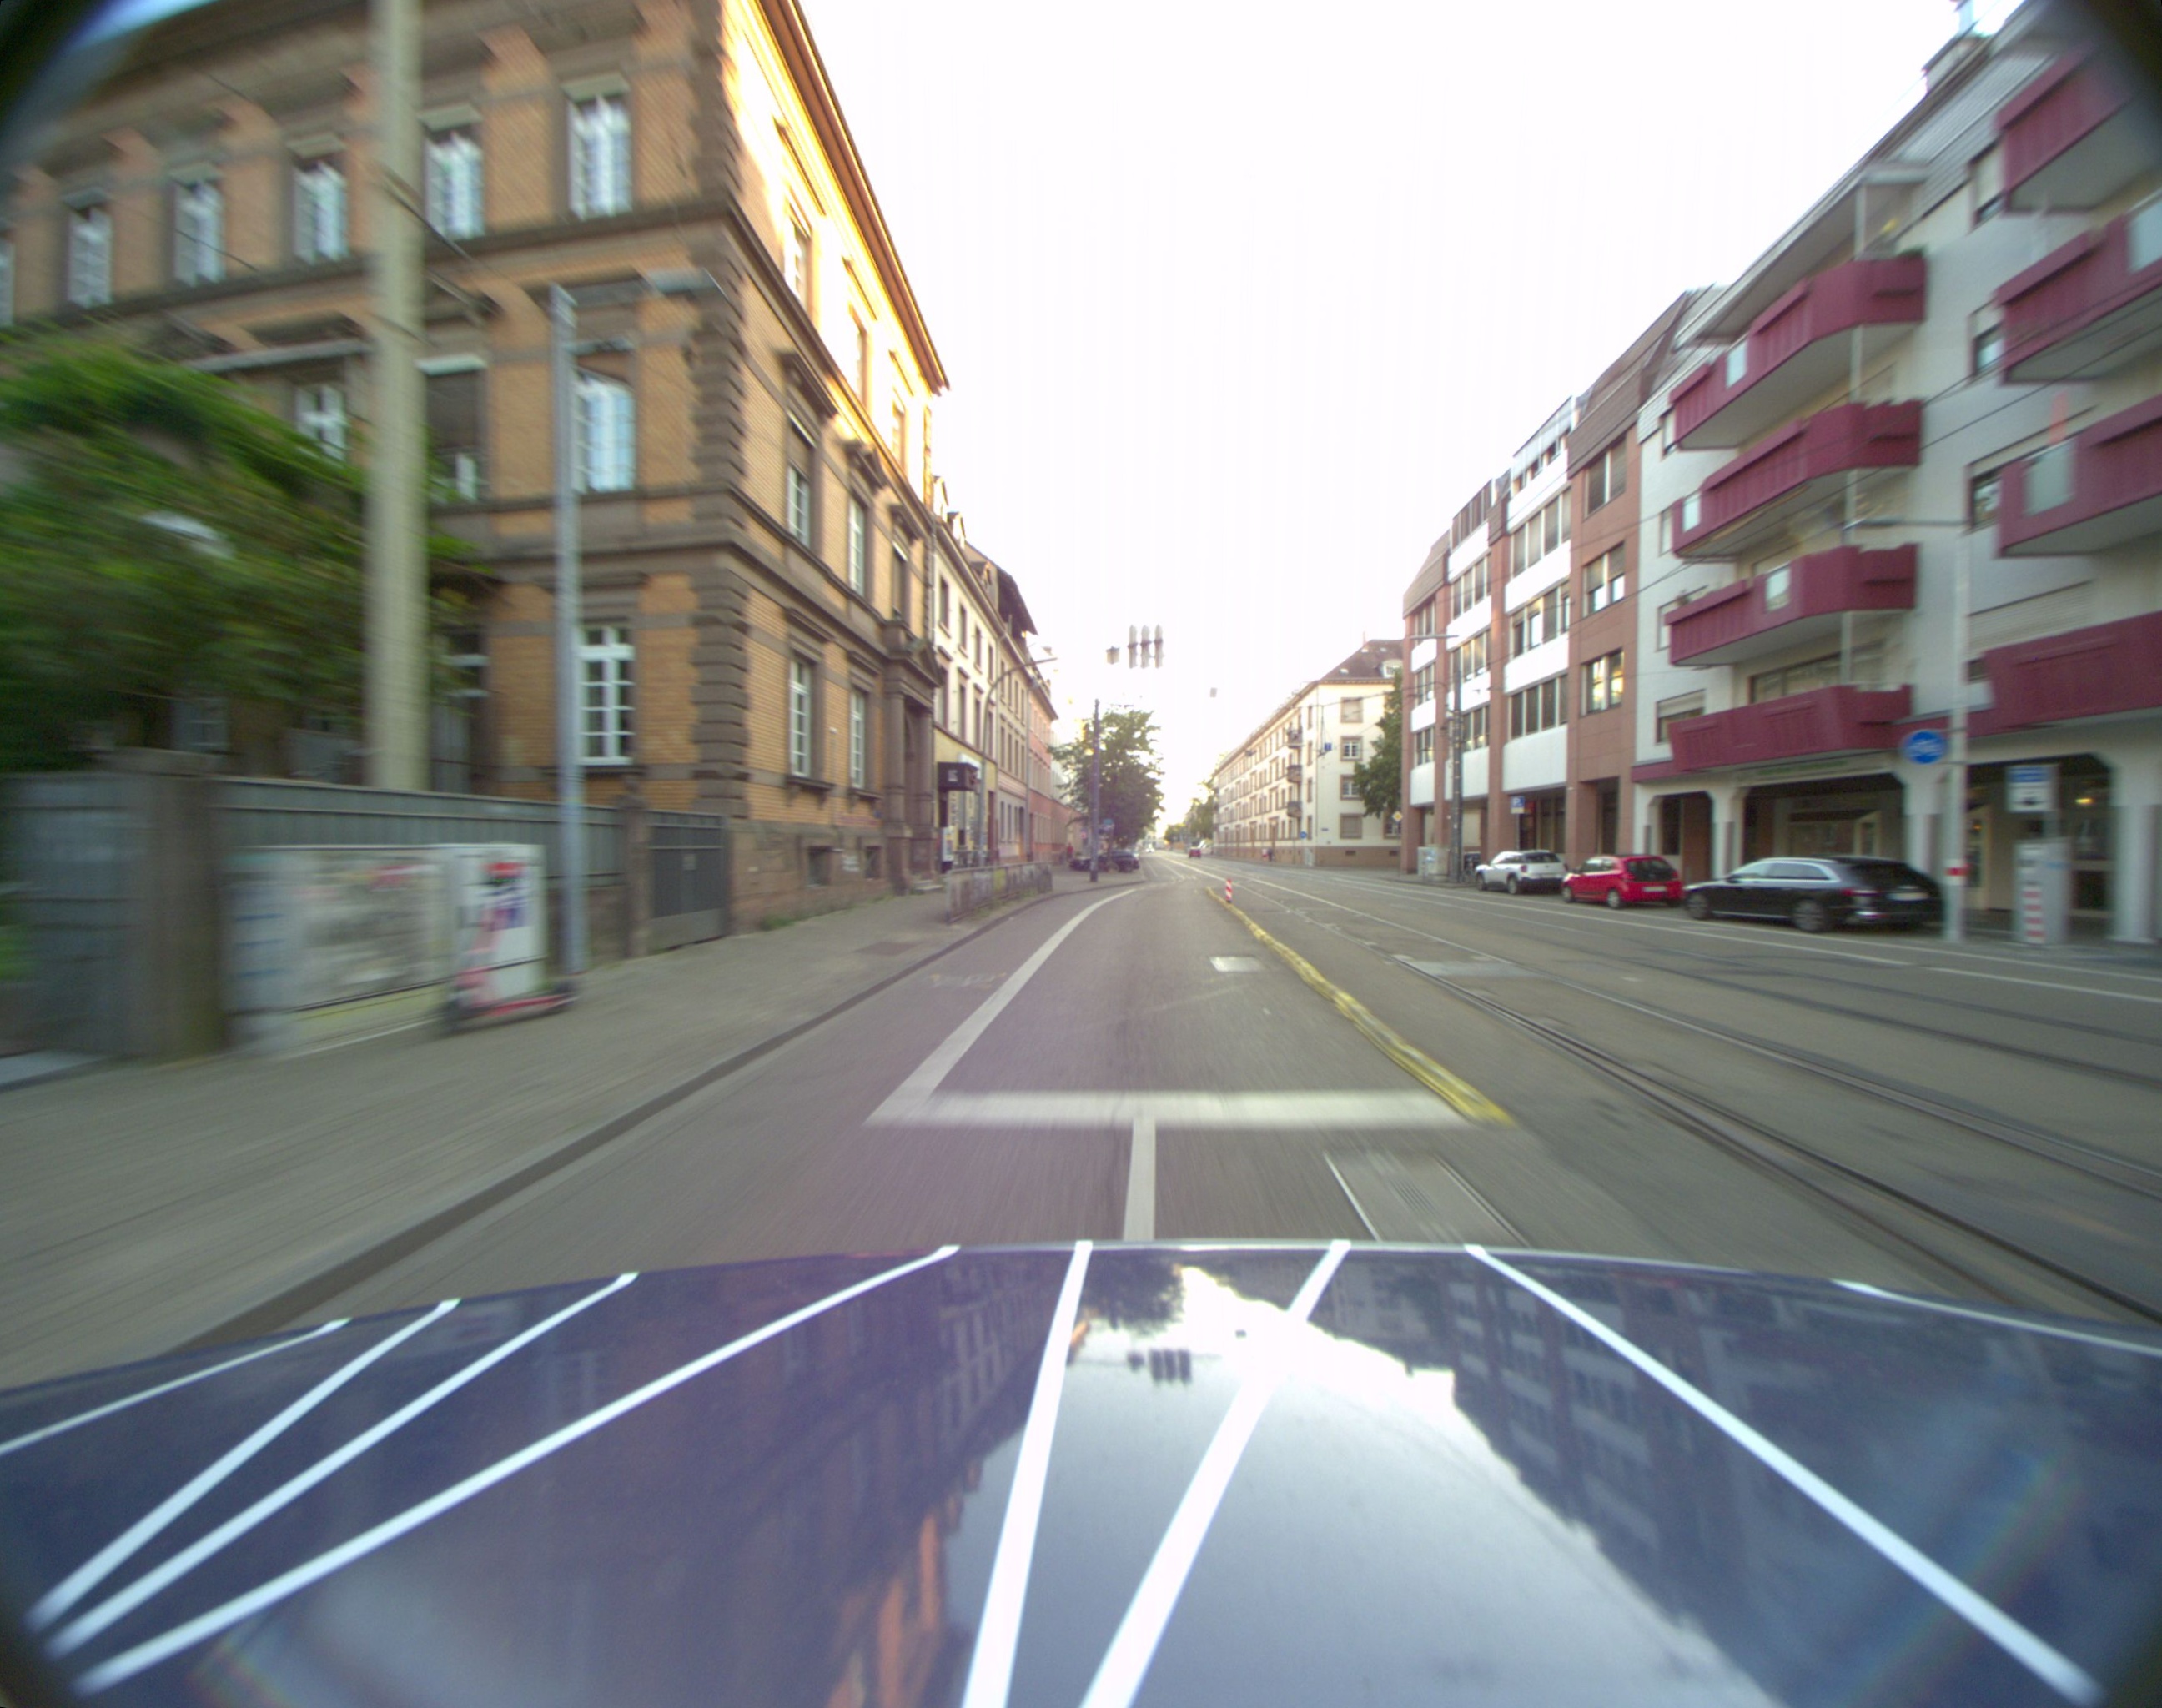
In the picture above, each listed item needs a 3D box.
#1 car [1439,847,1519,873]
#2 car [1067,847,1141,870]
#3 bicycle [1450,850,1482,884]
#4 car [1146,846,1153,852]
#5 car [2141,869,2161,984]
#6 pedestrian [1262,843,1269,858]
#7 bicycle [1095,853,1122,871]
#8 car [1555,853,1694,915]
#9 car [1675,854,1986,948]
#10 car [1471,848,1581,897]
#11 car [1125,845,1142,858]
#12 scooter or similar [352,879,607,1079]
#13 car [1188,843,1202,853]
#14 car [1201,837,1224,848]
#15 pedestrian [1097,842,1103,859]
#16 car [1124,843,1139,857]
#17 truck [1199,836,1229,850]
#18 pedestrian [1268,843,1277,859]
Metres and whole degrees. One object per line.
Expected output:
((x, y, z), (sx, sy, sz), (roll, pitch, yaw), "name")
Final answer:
((24.981, 0.352, 47.792), (3.998, 1.496, 1.922), (0, 3, -3), "car")
((1.523, 0.294, 51.001), (4.624, 1.449, 1.707), (1, 1, -20), "car")
((16.276, 0.534, 32.175), (0.609, 1.370, 2.260), (0, 1, 12), "bicycle")
((19.796, -1.408, 219.380), (1.998, 1.674, 4.001), (-1, 0, 4), "car")
((13.880, 0.912, 7.115), (1.695, 1.406, 4.678), (-2, 1, 7), "car")
((19.596, -0.332, 80.793), (0.592, 1.600, 0.811), (0, 1, 2), "pedestrian")
((1.797, 0.508, 48.857), (1.694, 1.095, 0.928), (2, 1, 3), "bicycle")
((15.075, 0.783, 21.298), (1.614, 1.471, 3.480), (-2, 1, 6), "car")
((14.801, 0.823, 15.468), (1.998, 1.471, 4.482), (-2, 1, 2), "car")
((15.732, 0.595, 27.105), (1.720, 1.547, 4.204), (-1, 1, 5), "car")
((6.099, -0.353, 88.291), (1.784, 1.373, 4.692), (2, 1, 6), "car")
((-4.570, 0.869, 5.931), (0.643, 1.259, 1.583), (2, 1, 5), "scooter or similar")
((17.165, -0.939, 114.707), (1.563, 1.549, 3.755), (1, 1, 2), "car")
((32.066, -2.825, 185.918), (5.232, 2.582, 2.229), (-1, 1, 0), "car")
((2.117, -0.392, 84.749), (0.682, 1.806, 0.600), (0, 2, 5), "pedestrian")
((5.519, -0.479, 82.653), (1.622, 1.373, 3.776), (2, 1, 4), "car")
((33.587, -2.777, 191.576), (7.075, 3.409, 2.566), (-1, 1, 1), "truck")
((20.383, -0.338, 80.956), (0.797, 1.692, 0.981), (0, 1, 2), "pedestrian")
